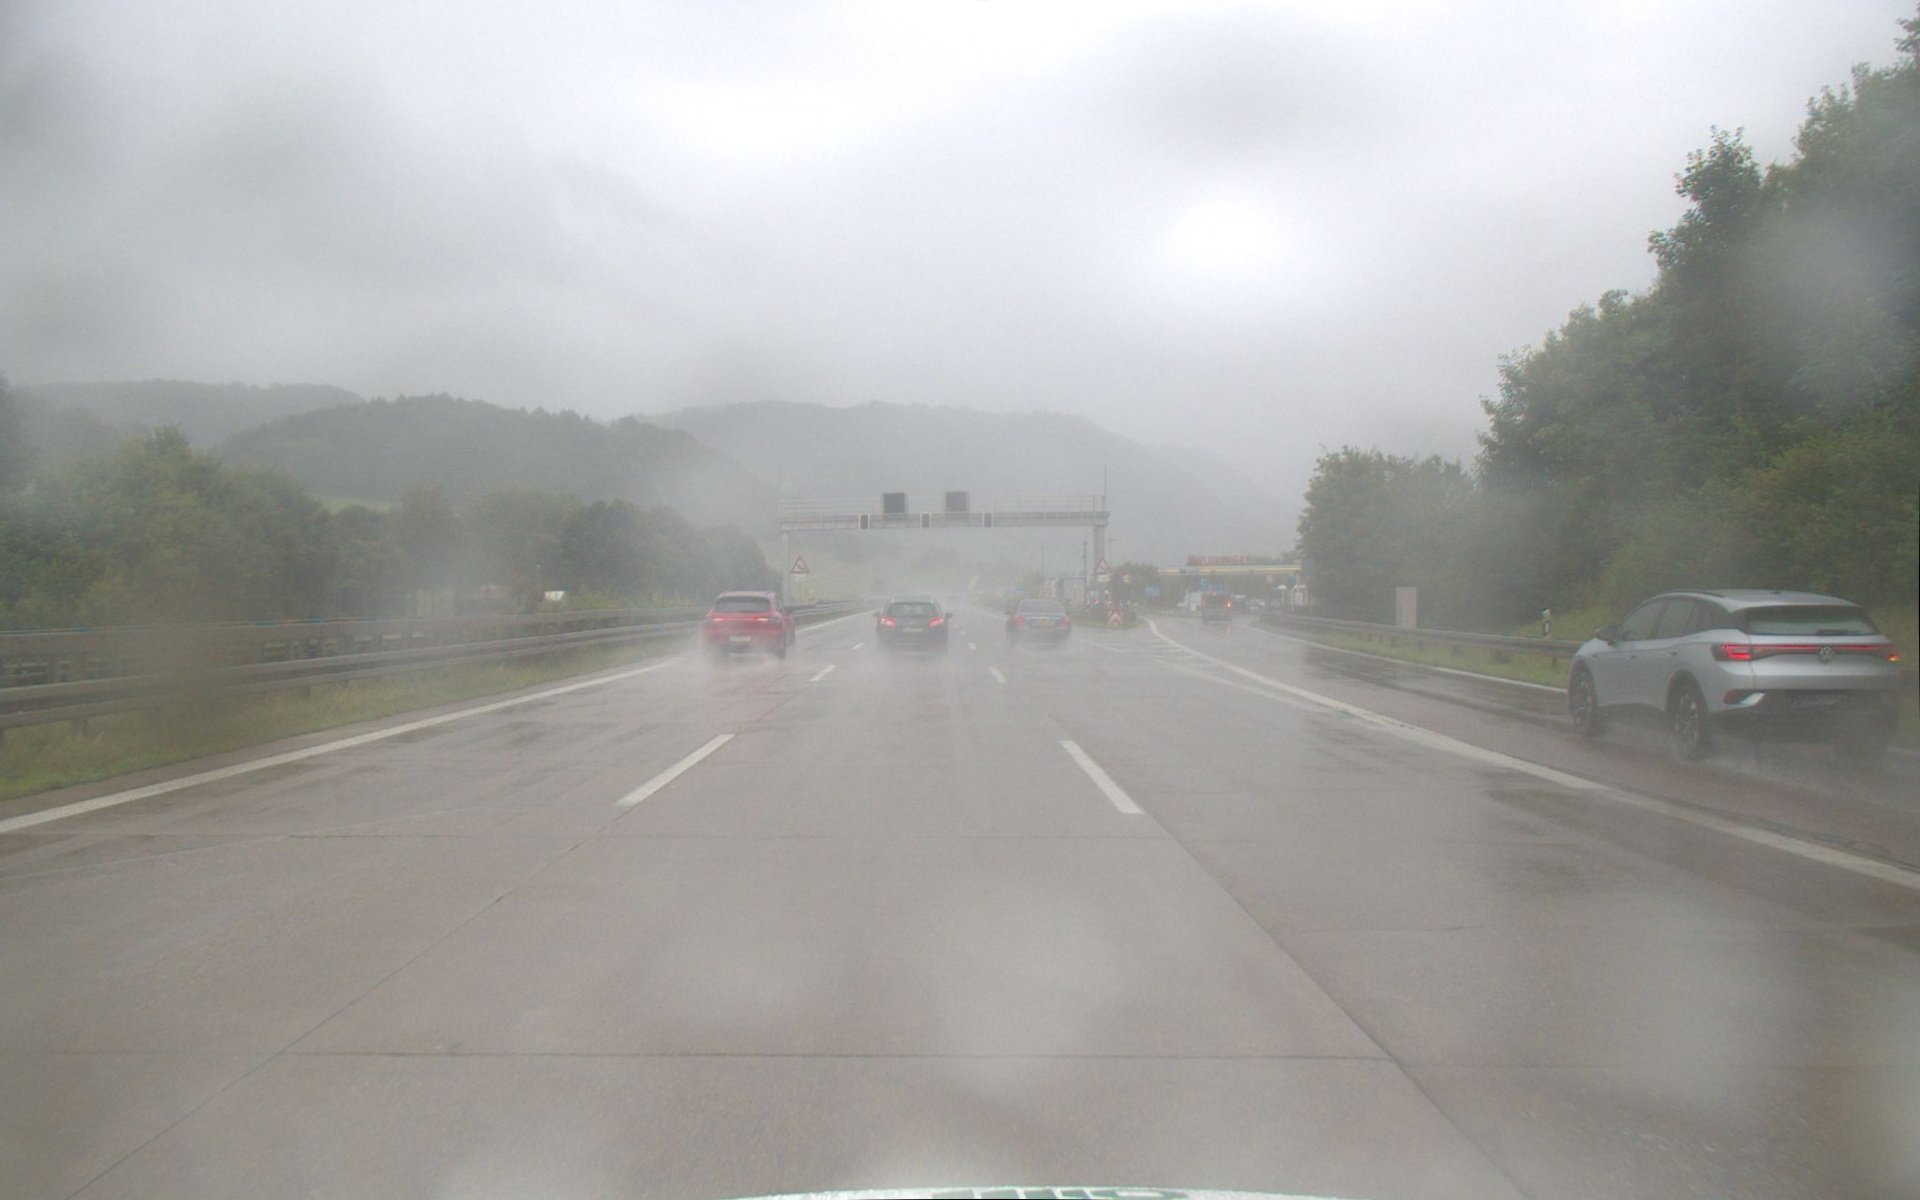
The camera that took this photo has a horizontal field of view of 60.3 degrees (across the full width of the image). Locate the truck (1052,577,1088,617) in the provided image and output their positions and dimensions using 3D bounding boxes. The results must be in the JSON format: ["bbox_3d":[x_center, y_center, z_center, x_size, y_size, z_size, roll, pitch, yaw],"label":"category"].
[{"bbox_3d":[12.563,-0.363,189.908,3.332,4.479,11.048,1,0,0],"label":"truck"}]

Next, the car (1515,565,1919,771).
[{"bbox_3d":[7.751,0.604,17.278,1.953,1.781,5.661,1,0,-1],"label":"car"}]

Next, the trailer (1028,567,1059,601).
[{"bbox_3d":[11.062,-2.105,219.967,3.444,4.336,11.919,1,0,0],"label":"trailer"}]

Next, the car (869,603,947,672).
[{"bbox_3d":[-1.244,0.886,40.807,1.821,1.617,3.999,1,0,-1],"label":"car"}]

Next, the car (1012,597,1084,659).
[{"bbox_3d":[2.629,0.802,50.395,1.931,1.791,4.000,0,0,-1],"label":"car"}]

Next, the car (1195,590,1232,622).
[{"bbox_3d":[16.173,0.359,105.591,1.951,2.049,5.057,0,0,4],"label":"car"}]

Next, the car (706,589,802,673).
[{"bbox_3d":[-4.790,0.674,38.872,1.846,1.847,3.999,0,0,-2],"label":"car"}]
